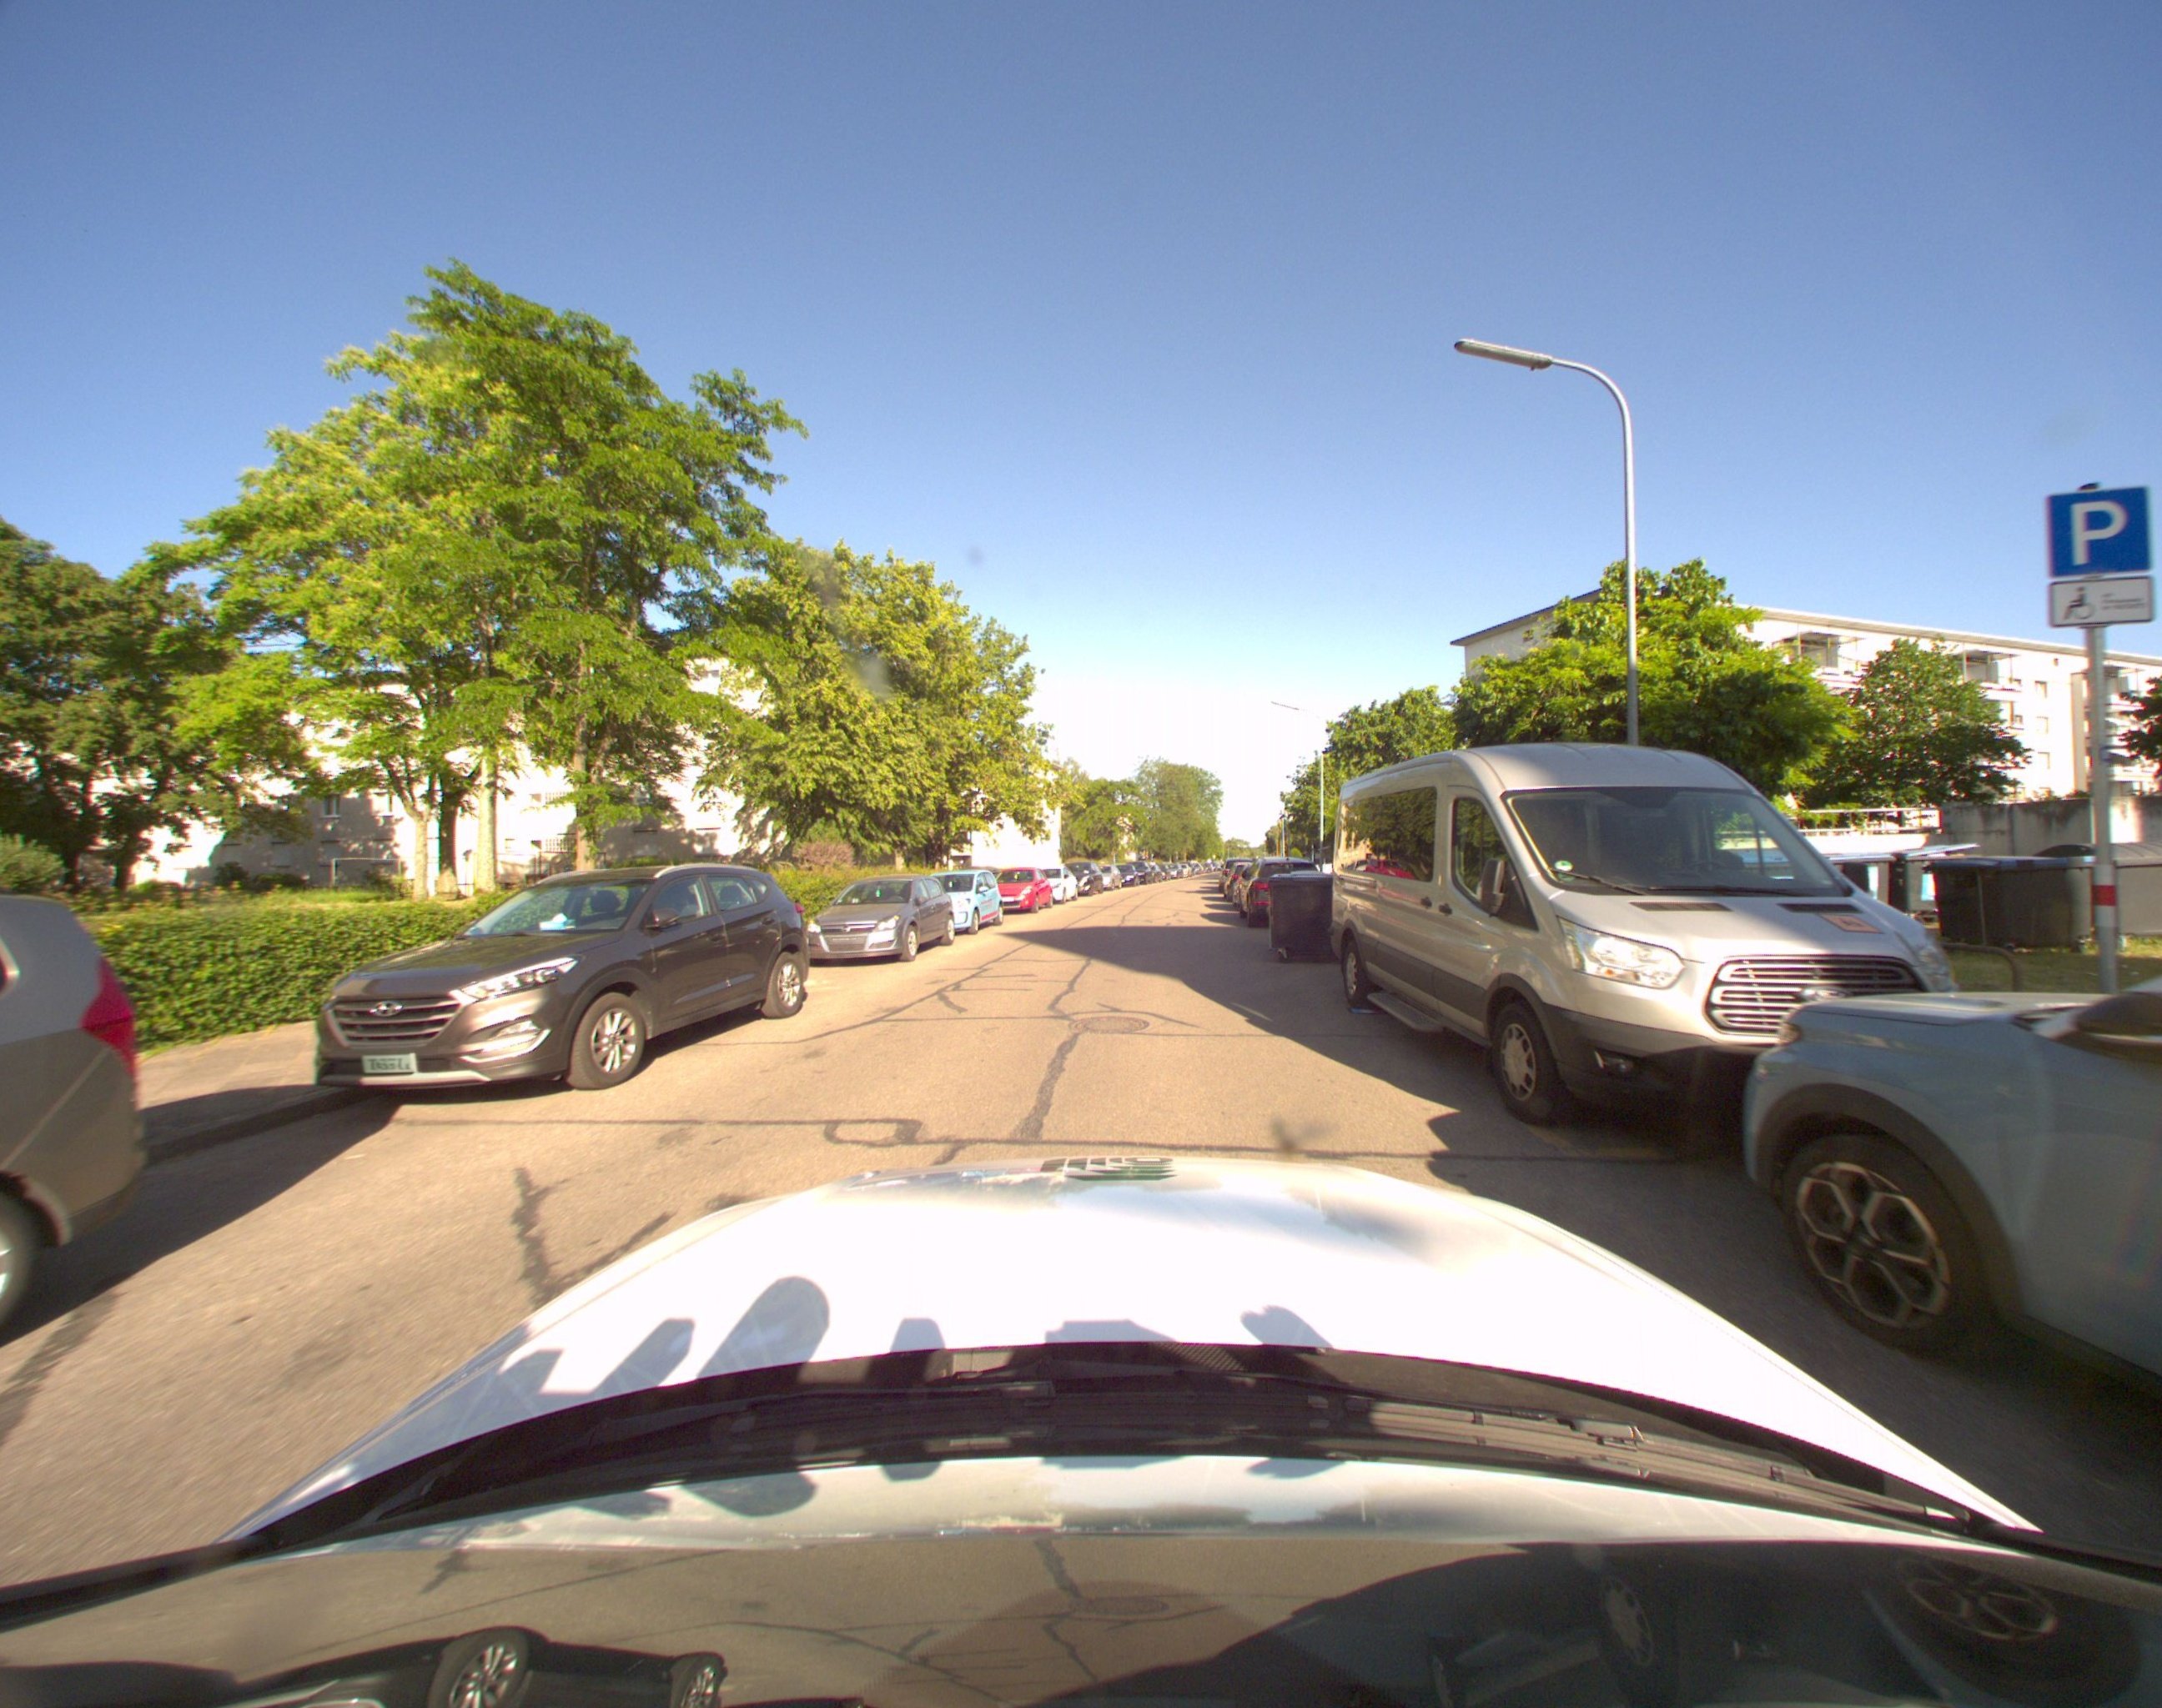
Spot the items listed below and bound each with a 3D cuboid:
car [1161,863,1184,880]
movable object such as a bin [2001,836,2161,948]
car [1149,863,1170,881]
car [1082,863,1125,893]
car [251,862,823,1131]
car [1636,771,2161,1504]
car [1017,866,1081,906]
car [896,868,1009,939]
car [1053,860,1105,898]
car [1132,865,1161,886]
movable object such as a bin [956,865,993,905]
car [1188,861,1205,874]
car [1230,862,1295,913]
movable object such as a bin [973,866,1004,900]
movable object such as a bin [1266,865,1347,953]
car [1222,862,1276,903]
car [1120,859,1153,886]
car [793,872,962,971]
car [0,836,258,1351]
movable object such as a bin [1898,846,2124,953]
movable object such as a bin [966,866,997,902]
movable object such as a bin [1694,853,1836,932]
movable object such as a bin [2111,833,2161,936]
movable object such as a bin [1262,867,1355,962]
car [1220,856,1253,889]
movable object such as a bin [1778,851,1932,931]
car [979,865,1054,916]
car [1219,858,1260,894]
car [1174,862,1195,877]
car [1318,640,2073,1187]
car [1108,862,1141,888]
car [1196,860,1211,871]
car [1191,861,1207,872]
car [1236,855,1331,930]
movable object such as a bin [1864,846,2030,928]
[{"bbox_3d":[8.513,1.601,75.844,1.498,1.451,3.706,-3,-1,15],"label":"car"},{"bbox_3d":[13.826,0.475,10.886,1.419,1.373,1.385,-3,-1,9],"label":"movable object such as a bin"},{"bbox_3d":[6.671,1.551,69.287,1.380,1.413,3.135,-3,-1,12],"label":"car"},{"bbox_3d":[1.302,1.290,45.287,1.649,1.486,4.065,-3,-1,11],"label":"car"},{"bbox_3d":[-4.118,0.919,7.249,1.739,1.617,4.371,-2,0,7],"label":"car"},{"bbox_3d":[3.381,0.617,1.406,1.903,1.666,4.376,-1,-1,1],"label":"car"},{"bbox_3d":[-1.199,1.226,32.297,1.660,1.421,3.912,-3,-1,10],"label":"car"},{"bbox_3d":[-3.018,1.123,19.869,1.661,1.474,3.686,-3,-1,7],"label":"car"},{"bbox_3d":[-0.030,1.146,38.767,1.660,1.666,4.418,-3,-1,10],"label":"car"},{"bbox_3d":[4.981,1.608,61.545,1.649,1.439,3.772,-3,-1,11],"label":"car"},{"bbox_3d":[-4.148,1.197,31.961,1.105,1.498,1.411,-2,0,6],"label":"movable object such as a bin"},{"bbox_3d":[13.857,1.636,97.713,1.498,1.381,3.481,-3,-1,15],"label":"car"},{"bbox_3d":[5.751,1.009,26.146,1.675,1.488,3.832,1,-1,7],"label":"car"},{"bbox_3d":[-3.949,1.229,34.983,0.982,1.418,1.317,-2,0,7],"label":"movable object such as a bin"},{"bbox_3d":[3.740,0.899,13.640,1.219,1.397,1.174,-2,-1,13],"label":"movable object such as a bin"},{"bbox_3d":[6.409,1.034,31.466,1.673,1.456,4.299,0,-1,7],"label":"car"},{"bbox_3d":[3.861,1.272,56.339,1.649,1.688,4.062,-3,-1,11],"label":"car"},{"bbox_3d":[-3.498,1.115,14.783,1.662,1.437,4.006,-3,-1,5],"label":"car"},{"bbox_3d":[-4.506,0.818,1.402,1.549,1.722,4.345,-2,0,4],"label":"car"},{"bbox_3d":[12.386,0.582,10.943,1.404,1.305,1.385,-2,-1,9],"label":"movable object such as a bin"},{"bbox_3d":[-4.090,1.217,33.630,0.983,1.418,1.317,-2,0,6],"label":"movable object such as a bin"},{"bbox_3d":[12.220,0.670,14.638,1.404,1.305,1.385,-2,-1,9],"label":"movable object such as a bin"},{"bbox_3d":[15.284,0.384,10.794,1.419,1.373,1.385,-3,-1,9],"label":"movable object such as a bin"},{"bbox_3d":[3.454,0.911,12.500,1.260,1.313,1.126,-3,1,13],"label":"movable object such as a bin"},{"bbox_3d":[8.307,0.969,43.570,1.643,1.698,4.245,0,-1,10],"label":"car"},{"bbox_3d":[13.650,0.630,14.433,1.404,1.305,1.385,-2,-1,9],"label":"movable object such as a bin"},{"bbox_3d":[-2.040,1.146,26.789,1.661,1.474,3.686,-3,-1,7],"label":"car"},{"bbox_3d":[7.417,0.995,38.437,1.719,1.619,4.243,0,-1,9],"label":"car"},{"bbox_3d":[10.421,1.557,81.977,1.498,1.364,3.481,-3,-1,15],"label":"car"},{"bbox_3d":[3.654,0.294,6.684,2.095,2.486,5.862,0,-1,4],"label":"car"},{"bbox_3d":[2.778,1.282,50.771,1.651,1.426,4.058,-3,-1,8],"label":"car"},{"bbox_3d":[16.906,1.555,112.237,1.498,1.329,3.481,-3,-1,15],"label":"car"},{"bbox_3d":[14.980,1.565,103.342,1.498,1.329,3.481,-3,-1,15],"label":"car"},{"bbox_3d":[4.980,0.862,20.577,1.800,1.664,4.471,0,0,7],"label":"car"},{"bbox_3d":[15.072,0.560,14.254,1.404,1.305,1.385,-2,-1,9],"label":"movable object such as a bin"}]
